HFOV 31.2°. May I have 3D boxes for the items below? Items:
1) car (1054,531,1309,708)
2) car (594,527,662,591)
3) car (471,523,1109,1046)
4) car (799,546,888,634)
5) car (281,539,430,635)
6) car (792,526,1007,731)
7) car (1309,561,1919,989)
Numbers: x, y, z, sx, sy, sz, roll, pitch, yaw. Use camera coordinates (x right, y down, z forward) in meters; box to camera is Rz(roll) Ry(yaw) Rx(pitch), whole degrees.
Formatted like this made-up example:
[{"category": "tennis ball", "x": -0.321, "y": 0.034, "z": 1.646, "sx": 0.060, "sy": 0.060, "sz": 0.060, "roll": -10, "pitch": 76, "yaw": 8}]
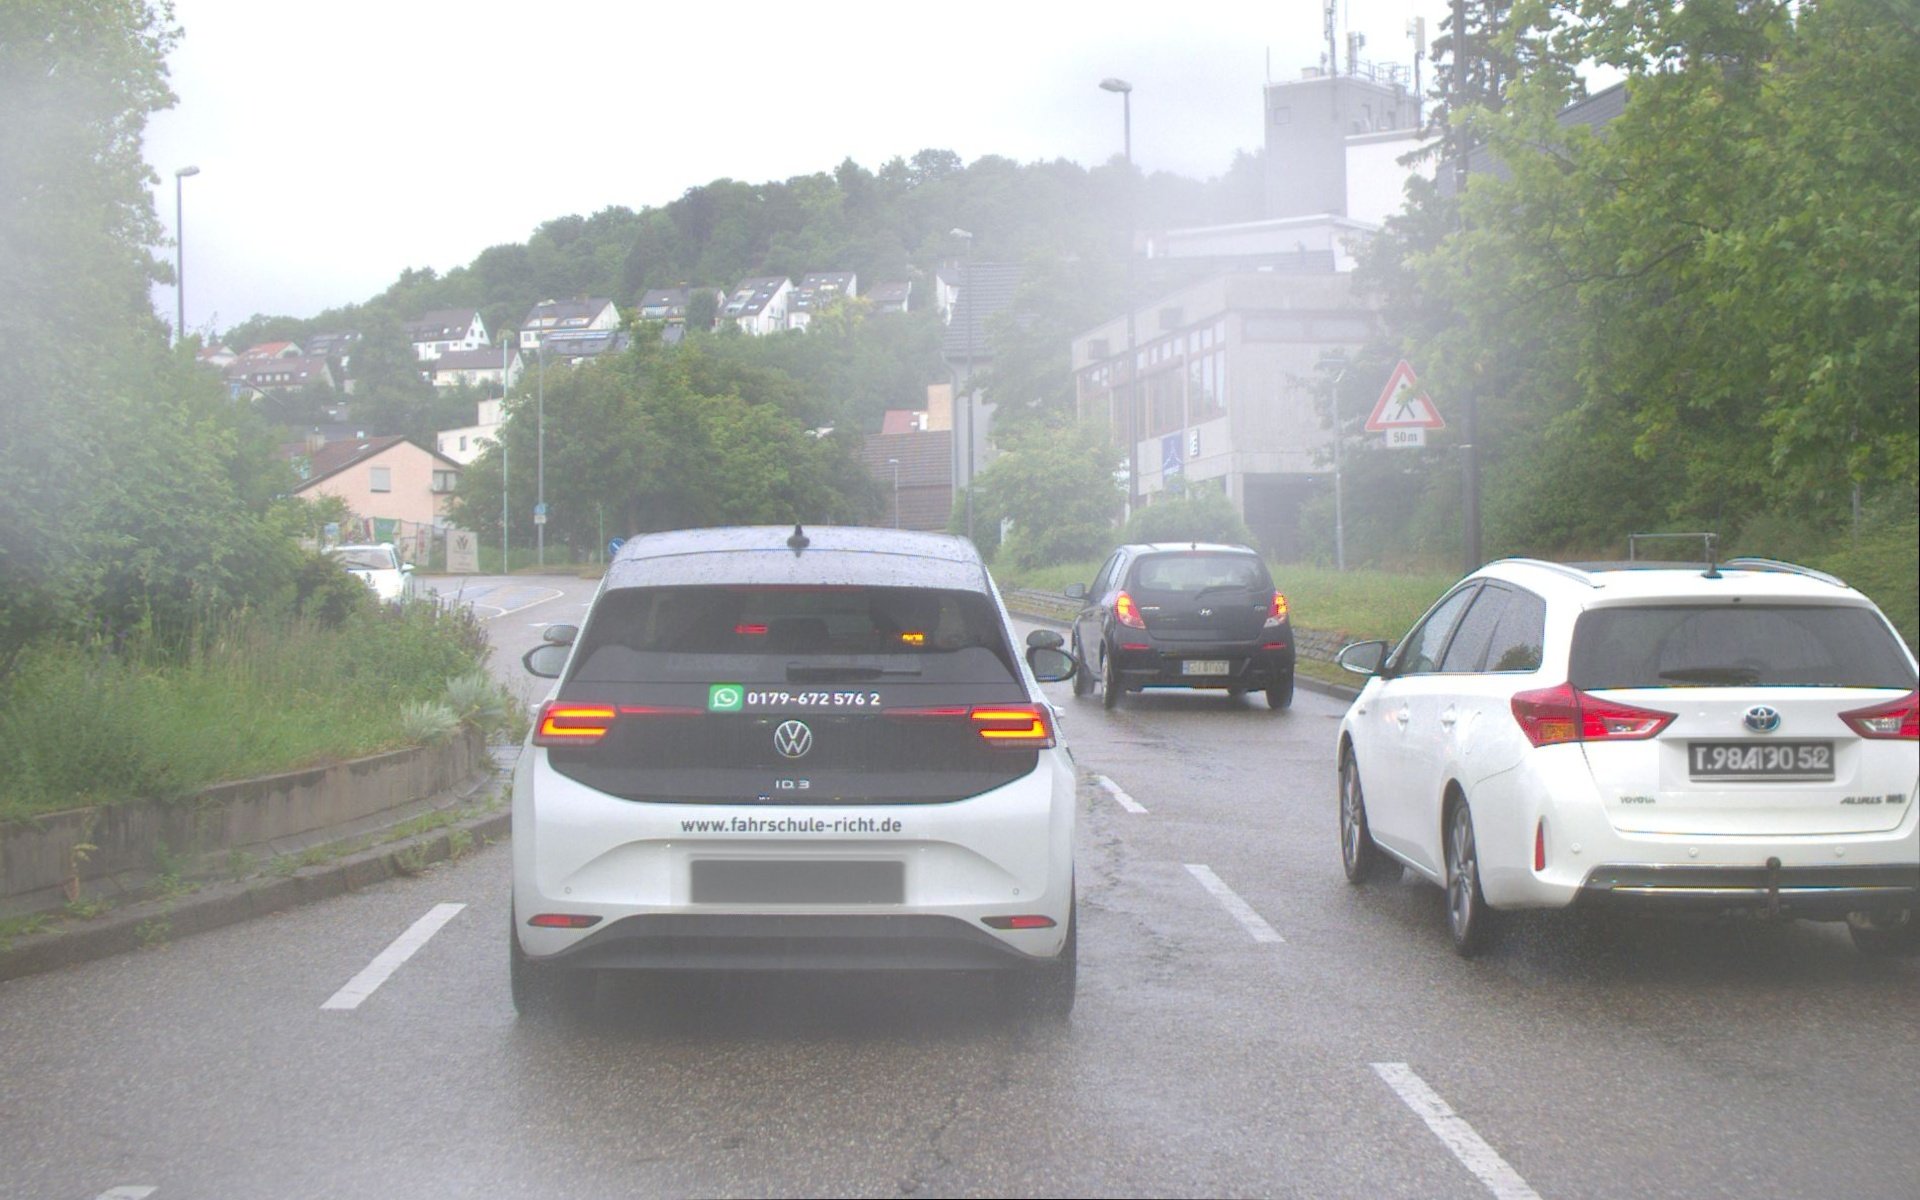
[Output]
[{"category": "car", "x": 1.962, "y": 0.168, "z": 31.551, "sx": 1.993, "sy": 1.448, "sz": 3.771, "roll": -2, "pitch": 0, "yaw": -1}, {"category": "car", "x": -10.792, "y": -1.321, "z": 111.995, "sx": 1.993, "sy": 2.007, "sz": 4.000, "roll": 1, "pitch": 0, "yaw": -3}, {"category": "car", "x": -0.517, "y": 0.530, "z": 11.992, "sx": 1.828, "sy": 1.495, "sz": 4.168, "roll": 0, "pitch": 0, "yaw": -1}, {"category": "car", "x": -2.735, "y": -0.228, "z": 81.423, "sx": 1.993, "sy": 2.007, "sz": 4.000, "roll": 1, "pitch": 0, "yaw": -1}, {"category": "car", "x": -10.915, "y": -0.252, "z": 62.335, "sx": 1.993, "sy": 1.656, "sz": 4.598, "roll": -1, "pitch": 1, "yaw": -2}, {"category": "car", "x": -0.547, "y": 0.171, "z": 27.640, "sx": 1.567, "sy": 1.525, "sz": 4.001, "roll": 0, "pitch": 1, "yaw": -3}, {"category": "car", "x": 2.574, "y": 0.578, "z": 13.511, "sx": 1.848, "sy": 1.405, "sz": 4.302, "roll": 0, "pitch": 0, "yaw": -1}]
